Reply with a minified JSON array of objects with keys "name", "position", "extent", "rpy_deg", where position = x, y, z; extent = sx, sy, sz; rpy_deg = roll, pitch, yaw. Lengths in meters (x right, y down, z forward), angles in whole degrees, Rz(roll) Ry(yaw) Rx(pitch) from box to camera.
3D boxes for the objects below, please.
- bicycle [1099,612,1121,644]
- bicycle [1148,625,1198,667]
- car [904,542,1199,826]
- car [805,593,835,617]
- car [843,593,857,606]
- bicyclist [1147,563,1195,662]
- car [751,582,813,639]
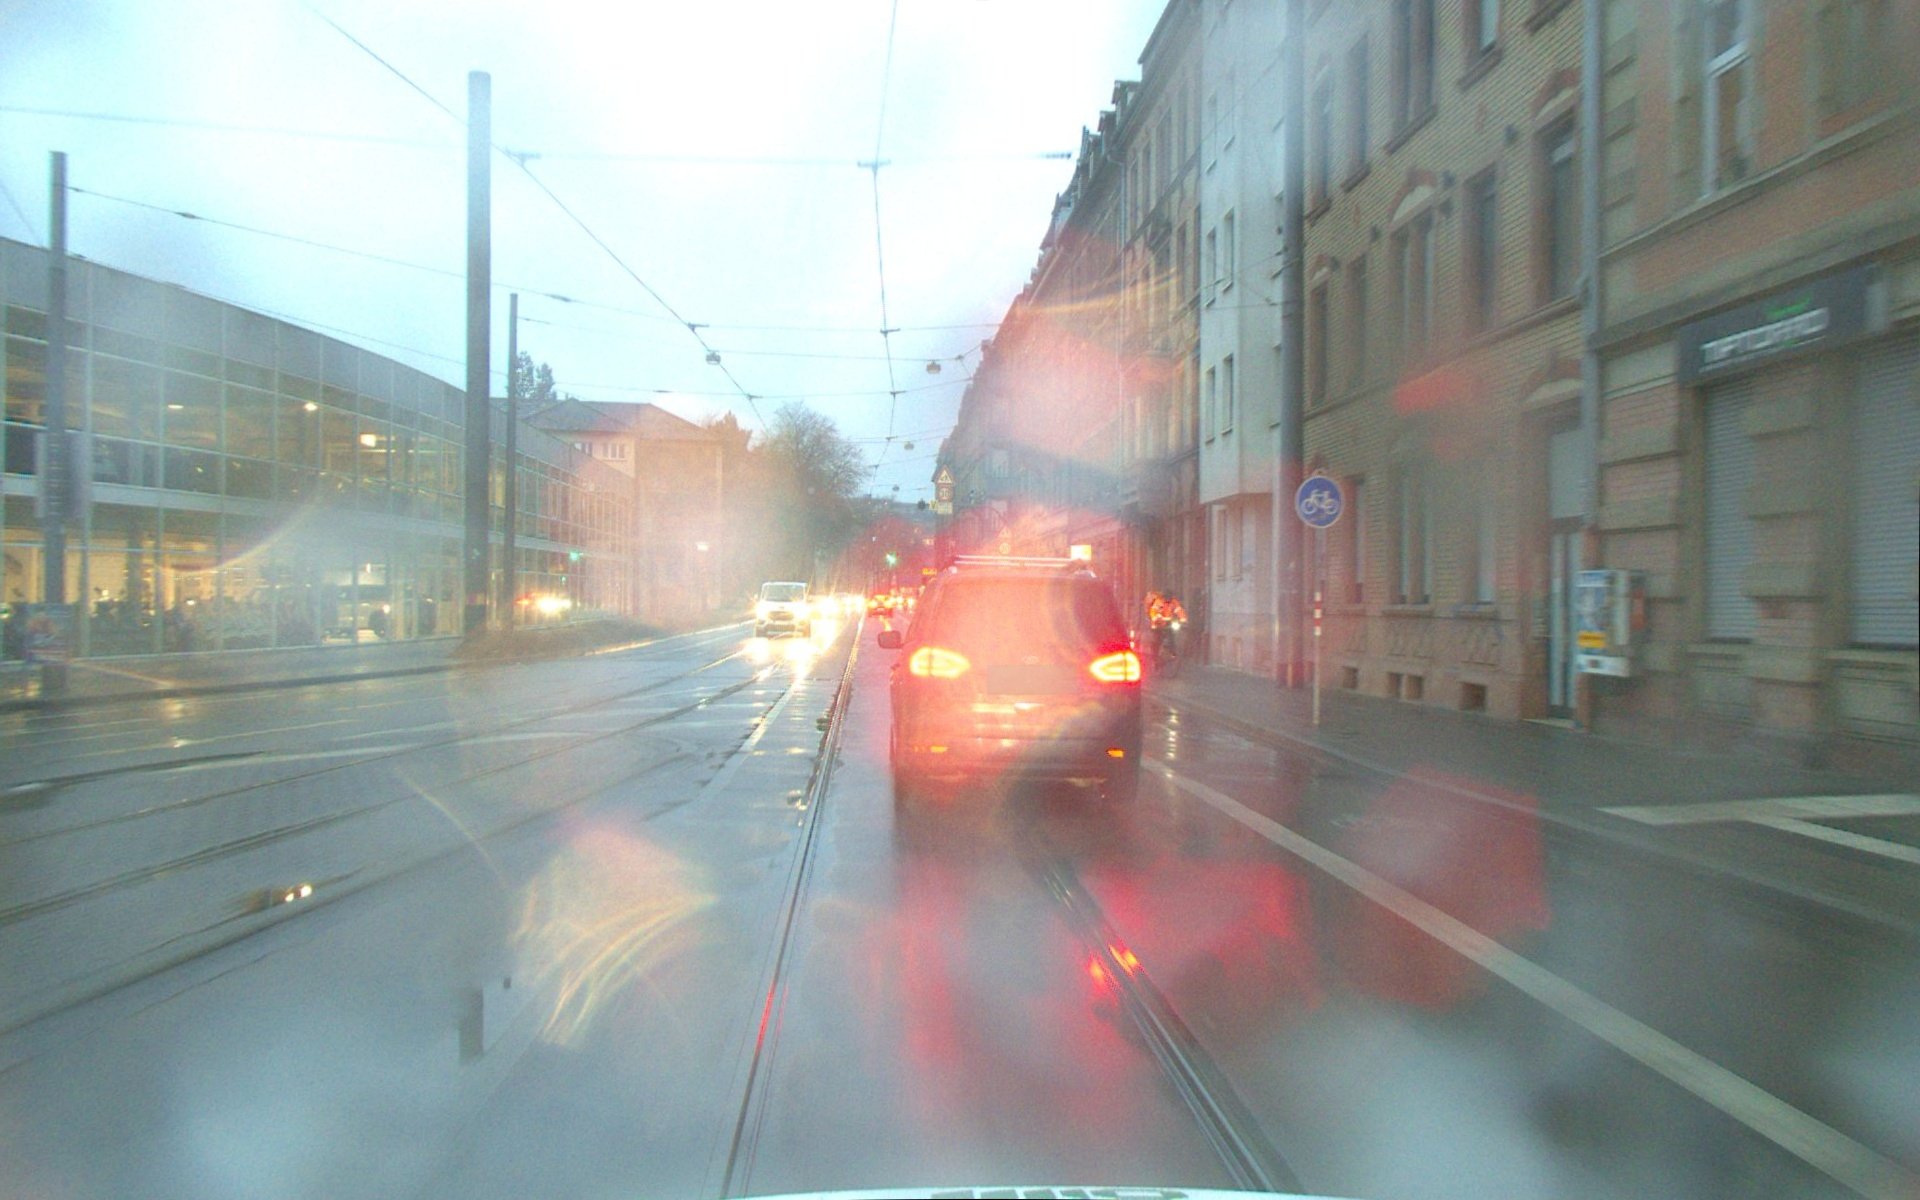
[{"name":"bicycle","position":[4.496,0.830,49.592],"extent":[0.389,0.927,1.865],"rpy_deg":[0,0,-3]},{"name":"bicycle","position":[4.182,0.895,32.618],"extent":[0.596,0.774,1.859],"rpy_deg":[0,0,-5]},{"name":"car","position":[0.599,0.564,13.022],"extent":[1.953,1.874,3.999],"rpy_deg":[1,0,0]},{"name":"car","position":[-9.433,0.324,111.557],"extent":[1.804,1.606,4.440],"rpy_deg":[0,0,-2]},{"name":"car","position":[-15.180,-0.129,228.152],"extent":[1.838,1.739,4.757],"rpy_deg":[-1,0,-4]},{"name":"bicyclist","position":[4.148,0.248,32.589],"extent":[0.730,1.913,1.110],"rpy_deg":[0,-1,-5]},{"name":"car","position":[-6.720,0.389,62.792],"extent":[1.953,2.049,4.683],"rpy_deg":[1,0,-2]}]
